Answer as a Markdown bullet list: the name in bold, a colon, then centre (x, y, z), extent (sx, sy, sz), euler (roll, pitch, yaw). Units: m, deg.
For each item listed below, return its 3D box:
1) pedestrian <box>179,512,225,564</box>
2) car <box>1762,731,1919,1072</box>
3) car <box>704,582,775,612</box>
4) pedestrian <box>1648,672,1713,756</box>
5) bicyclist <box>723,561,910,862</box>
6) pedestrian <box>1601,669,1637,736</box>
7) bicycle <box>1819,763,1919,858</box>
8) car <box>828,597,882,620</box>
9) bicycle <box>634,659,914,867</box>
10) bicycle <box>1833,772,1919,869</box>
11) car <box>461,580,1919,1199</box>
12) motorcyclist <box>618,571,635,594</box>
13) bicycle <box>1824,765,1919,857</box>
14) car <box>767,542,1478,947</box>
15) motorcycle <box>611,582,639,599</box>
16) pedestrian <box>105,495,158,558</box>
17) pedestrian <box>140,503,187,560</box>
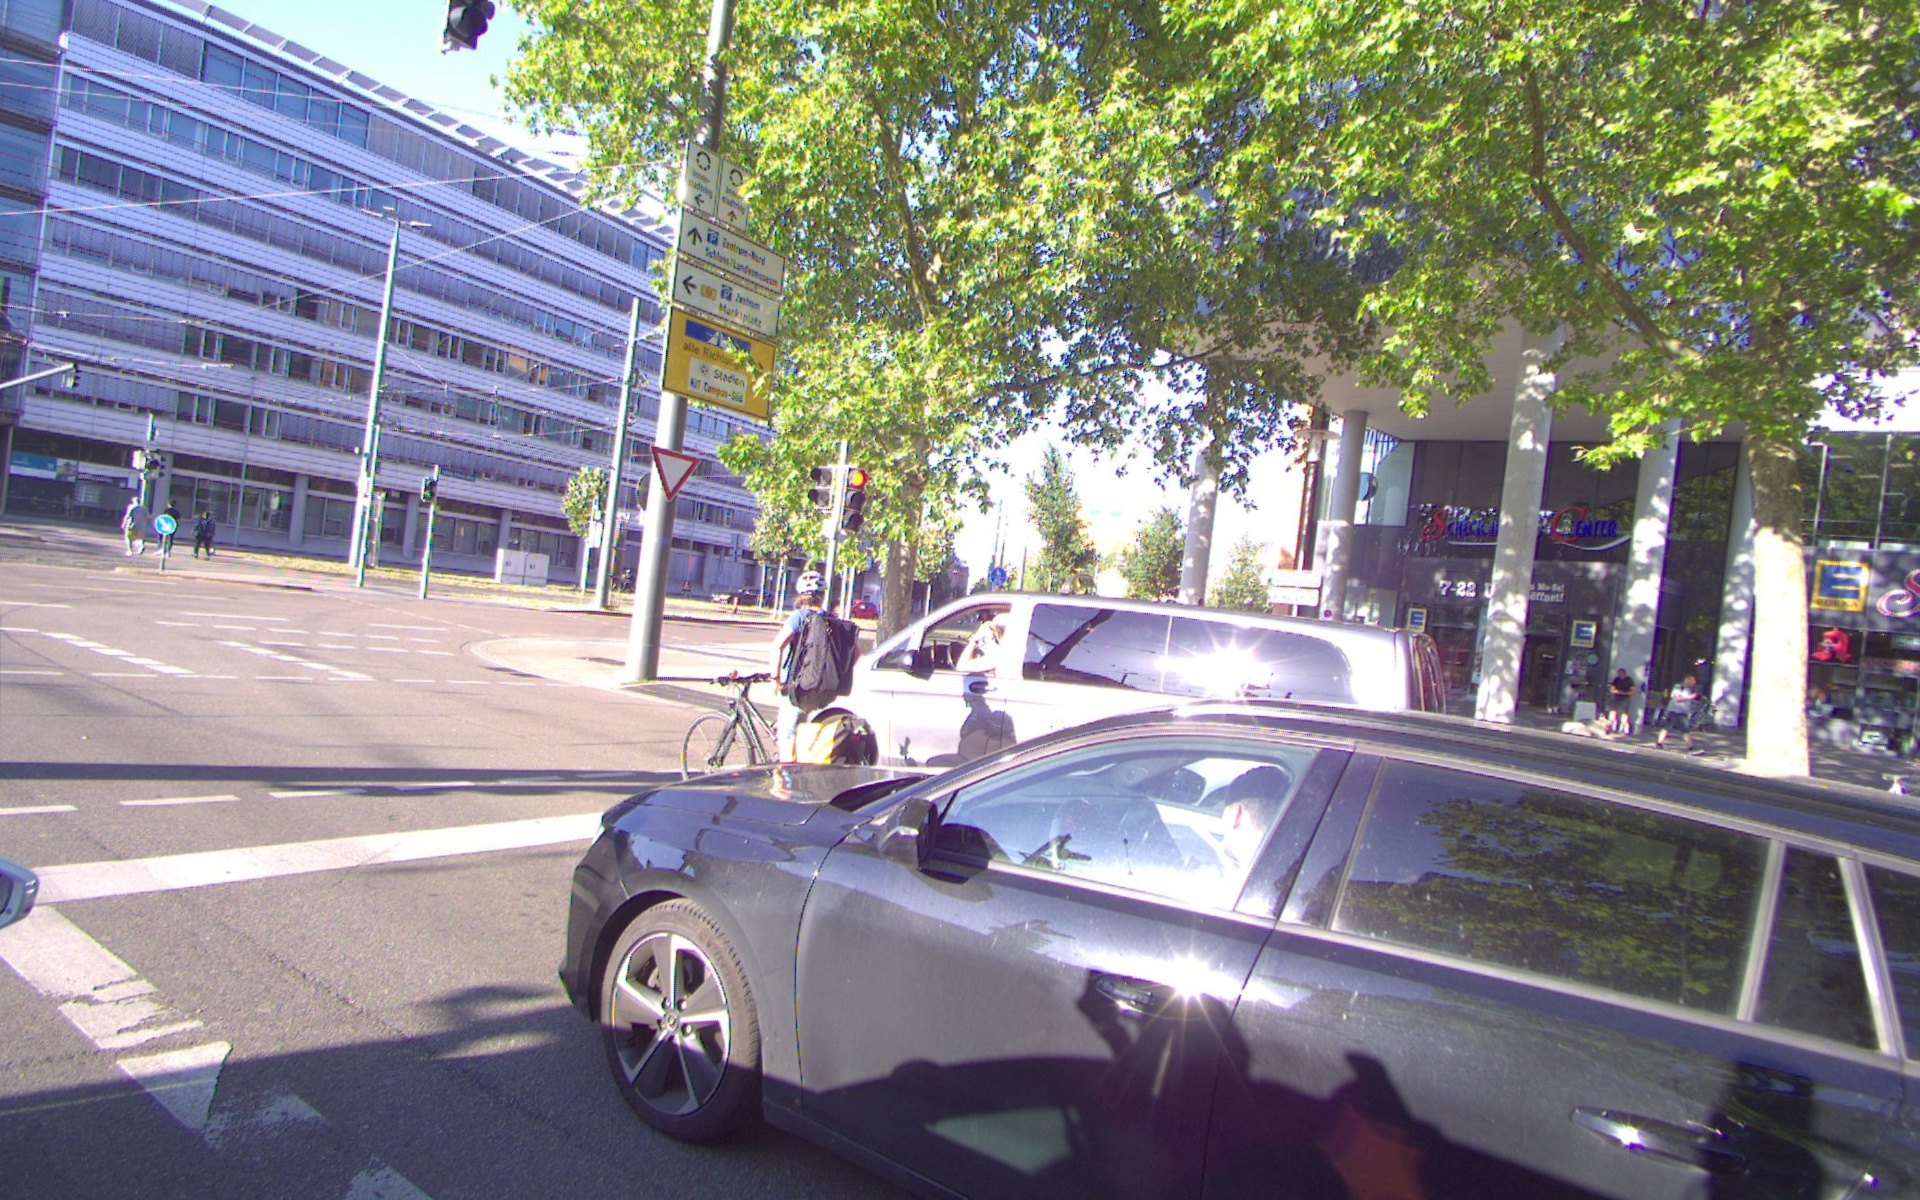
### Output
- **pedestrian**: centre (-25.738, -2.108, 34.152), extent (0.883, 1.583, 0.947), euler (7, 1, 39)
- **car**: centre (6.560, 1.733, 4.598), extent (4.181, 1.503, 1.741), euler (7, 0, 31)
- **car**: centre (-13.866, -0.189, 63.546), extent (1.758, 1.415, 4.157), euler (7, 0, 37)
- **pedestrian**: centre (16.797, 2.660, 23.474), extent (0.595, 1.805, 0.882), euler (6, 1, -23)
- **bicyclist**: centre (-0.903, 0.671, 6.358), extent (0.766, 1.714, 0.632), euler (7, 1, 32)
- **pedestrian**: centre (17.518, 2.734, 26.742), extent (0.598, 1.707, 0.511), euler (6, 1, -41)
- **bicycle**: centre (11.200, 2.544, 12.084), extent (0.437, 0.930, 1.210), euler (6, 0, -39)
- **car**: centre (-7.913, 0.632, 76.200), extent (1.758, 1.411, 3.984), euler (7, 1, 37)
- **bicycle**: centre (-1.265, 1.006, 6.648), extent (1.839, 0.993, 0.561), euler (7, 1, 32)
- **bicycle**: centre (10.541, 2.478, 11.097), extent (1.233, 0.898, 0.462), euler (7, 1, 32)
- **car**: centre (0.762, 0.943, 2.756), extent (4.199, 1.431, 1.742), euler (7, -2, 32)
- **motorcyclist**: centre (-20.049, -1.050, 60.477), extent (0.452, 1.291, 0.712), euler (7, 1, 36)
- **bicycle**: centre (11.498, 2.606, 12.356), extent (0.460, 0.938, 1.210), euler (6, 0, -39)
- **car**: centre (1.112, 0.830, 7.946), extent (5.012, 2.004, 1.939), euler (7, 0, 31)
- **motorcycle**: centre (-20.114, -0.553, 60.467), extent (0.460, 0.820, 1.568), euler (7, 0, 36)
- **pedestrian**: centre (-25.697, -2.274, 31.205), extent (0.856, 1.811, 0.866), euler (7, 1, 24)
- **pedestrian**: centre (-26.344, -2.258, 33.273), extent (1.020, 1.706, 0.912), euler (7, 1, 39)
